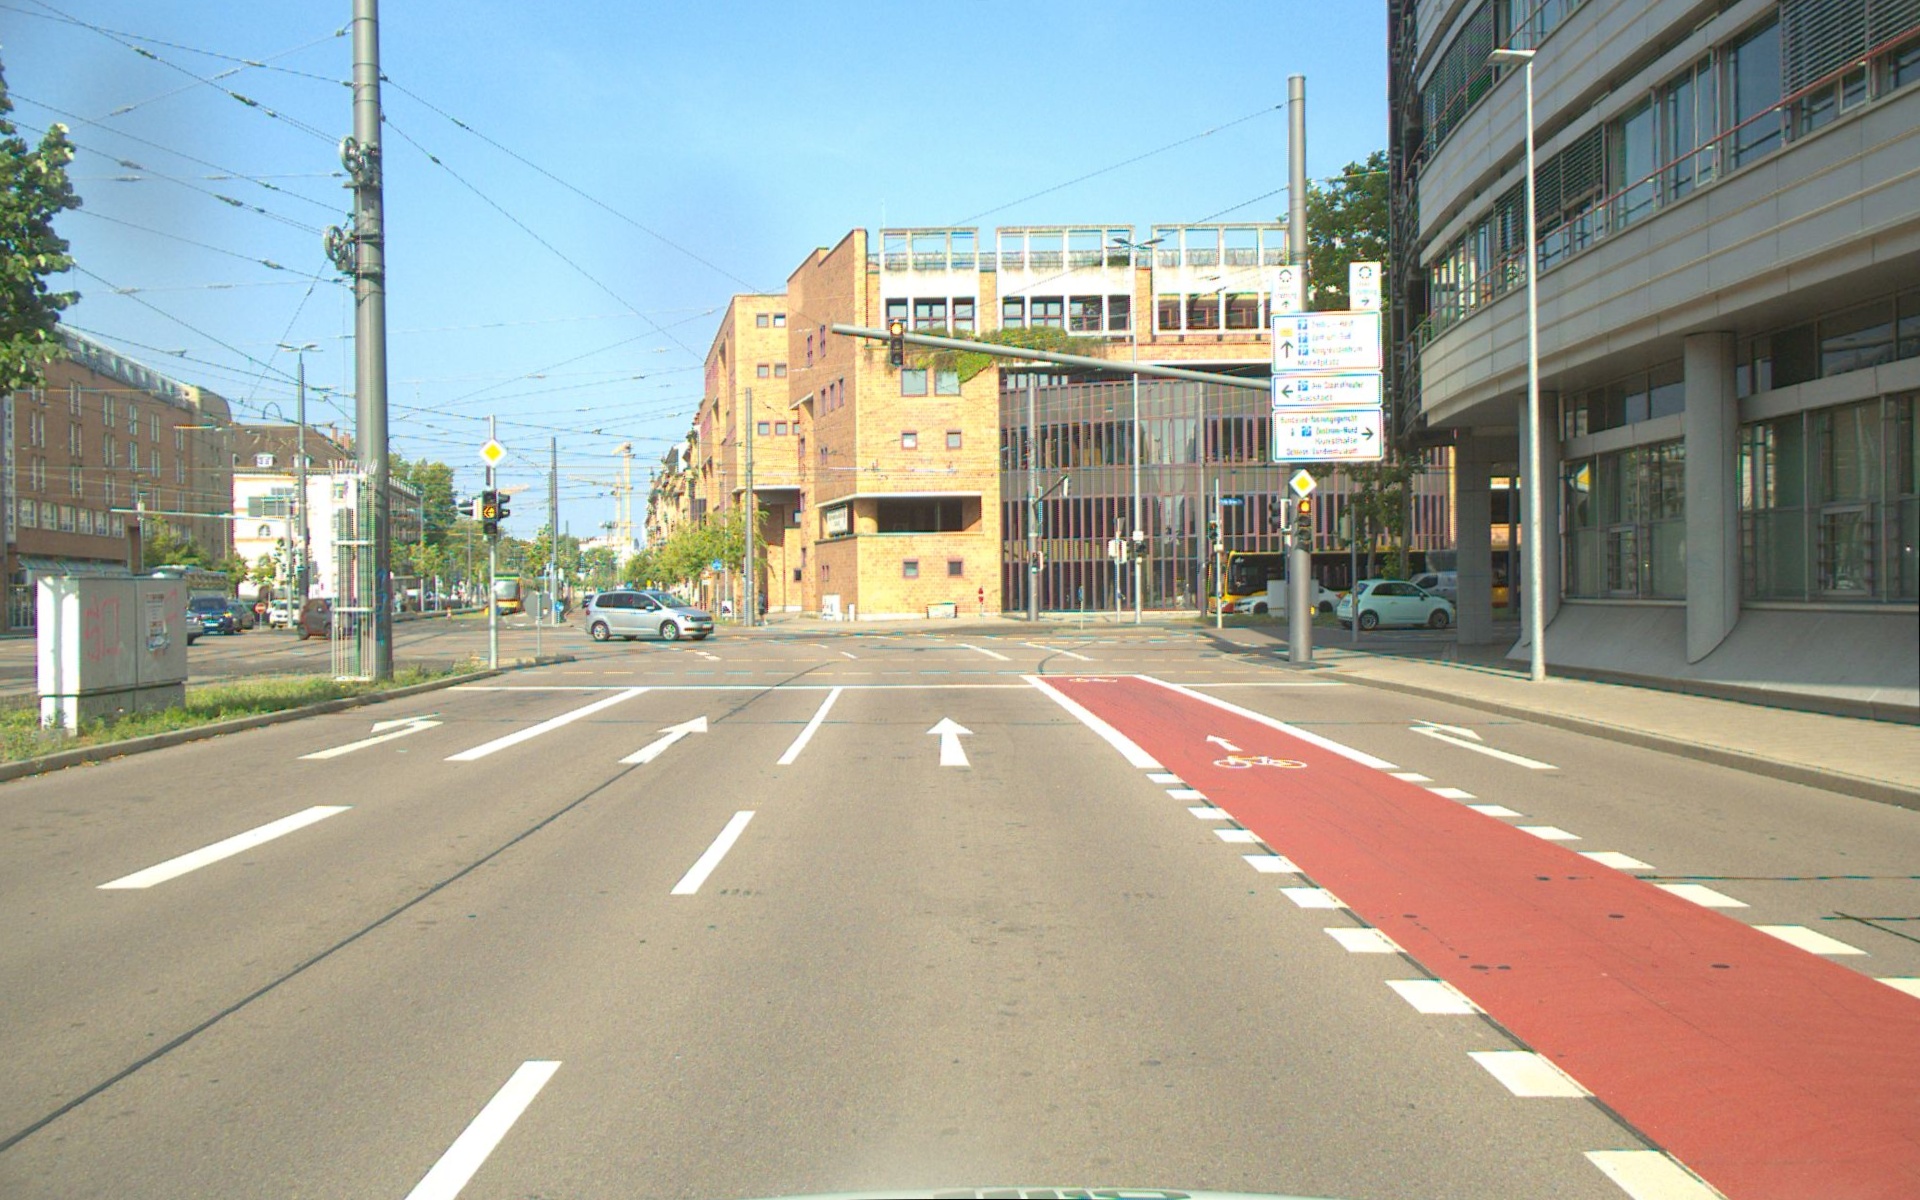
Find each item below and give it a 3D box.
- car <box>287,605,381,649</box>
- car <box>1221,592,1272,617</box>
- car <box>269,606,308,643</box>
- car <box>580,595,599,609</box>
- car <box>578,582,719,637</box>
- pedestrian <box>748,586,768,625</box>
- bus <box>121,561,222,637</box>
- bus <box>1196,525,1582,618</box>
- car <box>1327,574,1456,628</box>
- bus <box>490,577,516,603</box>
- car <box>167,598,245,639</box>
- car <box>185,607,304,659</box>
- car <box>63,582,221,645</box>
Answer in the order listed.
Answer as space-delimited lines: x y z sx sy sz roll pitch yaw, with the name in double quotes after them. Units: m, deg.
-23.103 0.997 61.017 3.534 1.518 1.694 -2 0 39 "car"
11.954 0.184 69.077 1.913 0.975 1.092 1 -2 -5 "car"
-38.190 1.406 94.149 1.573 2.049 2.721 -1 -1 -12 "car"
-42.845 0.239 191.091 2.038 1.569 4.398 -1 -1 -14 "car"
-10.067 0.297 53.417 4.291 1.663 1.689 0 2 25 "car"
-10.611 0.285 86.964 0.823 2.049 0.811 -1 0 13 "pedestrian"
-44.668 0.067 94.108 2.700 3.990 12.171 -1 -1 -14 "bus"
19.327 -1.308 74.405 17.296 3.877 2.857 -1 -2 -11 "bus"
13.137 0.032 50.416 3.374 1.569 1.730 -1 -1 -11 "car"
-36.212 -0.787 131.114 1.960 2.049 3.984 -1 0 -15 "bus"
-31.816 0.802 69.758 1.973 1.664 4.351 0 -1 -39 "car"
-25.713 1.186 59.459 3.797 1.786 1.711 -2 -1 20 "car"
-27.373 0.444 55.353 4.503 2.049 2.002 -1 0 14 "car"
